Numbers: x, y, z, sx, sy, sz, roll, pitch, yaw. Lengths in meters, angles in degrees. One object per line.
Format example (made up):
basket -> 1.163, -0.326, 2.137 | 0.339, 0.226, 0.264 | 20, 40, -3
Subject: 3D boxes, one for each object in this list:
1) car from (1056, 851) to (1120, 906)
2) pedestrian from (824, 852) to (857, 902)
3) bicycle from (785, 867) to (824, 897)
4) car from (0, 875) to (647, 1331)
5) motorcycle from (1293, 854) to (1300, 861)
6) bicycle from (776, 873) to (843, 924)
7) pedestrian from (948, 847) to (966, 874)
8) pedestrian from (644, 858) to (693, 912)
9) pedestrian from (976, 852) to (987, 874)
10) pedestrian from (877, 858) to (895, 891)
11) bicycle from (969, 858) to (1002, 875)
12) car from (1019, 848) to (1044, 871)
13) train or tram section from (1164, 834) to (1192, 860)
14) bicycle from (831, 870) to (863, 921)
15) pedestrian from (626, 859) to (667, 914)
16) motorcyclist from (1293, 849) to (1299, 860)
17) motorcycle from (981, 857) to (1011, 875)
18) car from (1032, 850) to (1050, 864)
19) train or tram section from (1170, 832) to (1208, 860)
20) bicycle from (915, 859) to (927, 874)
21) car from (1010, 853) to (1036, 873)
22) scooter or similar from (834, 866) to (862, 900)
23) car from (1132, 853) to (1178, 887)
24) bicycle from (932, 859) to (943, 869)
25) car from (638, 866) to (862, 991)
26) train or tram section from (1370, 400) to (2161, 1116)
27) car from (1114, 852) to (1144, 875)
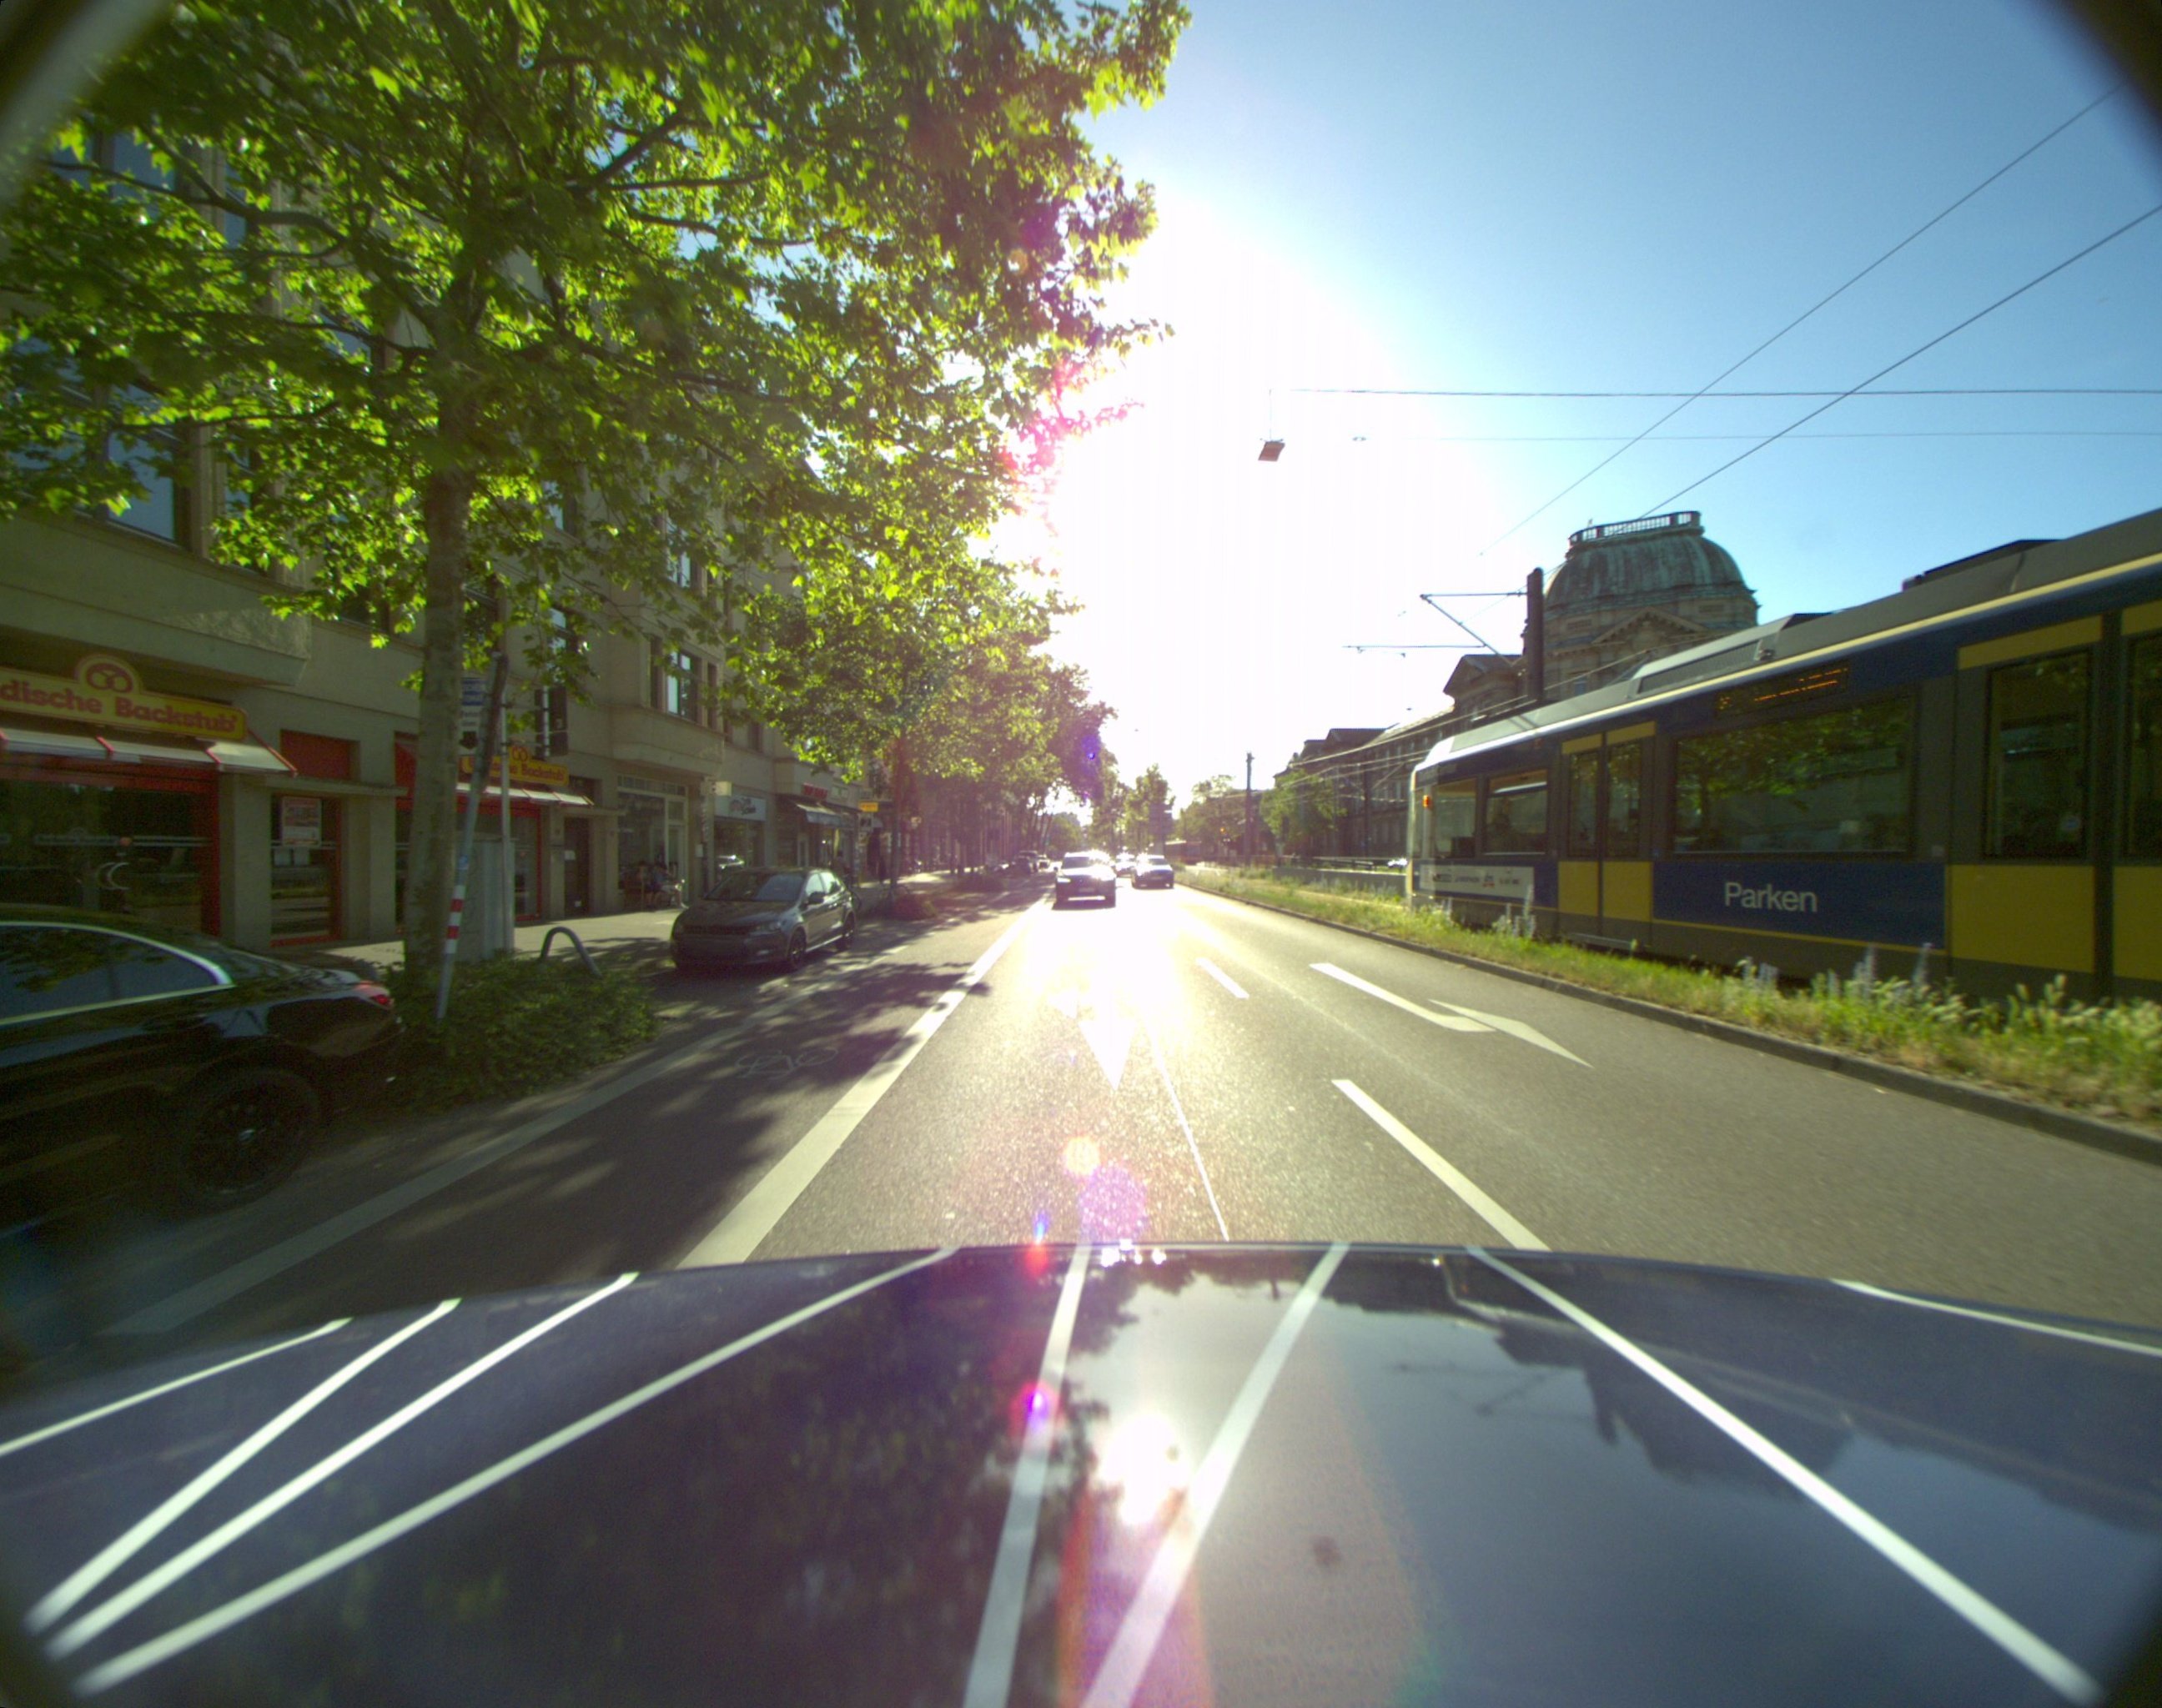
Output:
car -> 0.195, 0.739, 25.804 | 1.949, 1.690, 5.305 | 0, 0, 0
pedestrian -> -8.295, 0.780, 26.239 | 0.861, 1.695, 0.916 | 1, 1, -2
bicycle -> -10.453, 1.021, 28.801 | 0.491, 1.018, 2.623 | 2, 0, 0
car -> -4.857, 0.951, 4.380 | 2.043, 1.500, 4.593 | -1, 0, 0
motorcycle -> 25.854, 0.422, 91.176 | 0.369, 0.779, 1.522 | -2, 1, 3
bicycle -> -7.049, 1.140, 19.830 | 0.386, 1.200, 1.876 | -1, 0, 25
pedestrian -> -9.190, 0.472, 56.267 | 1.090, 2.002, 1.046 | 0, 1, 1
pedestrian -> -10.678, 0.784, 19.694 | 0.787, 1.361, 0.857 | 0, 1, 1
pedestrian -> -8.770, 0.787, 67.070 | 0.644, 1.817, 0.895 | -2, 1, 8
pedestrian -> -9.640, 0.998, 37.615 | 0.683, 1.612, 0.562 | -2, 1, -2
bicycle -> -6.760, 0.864, 53.588 | 2.228, 1.087, 0.455 | -2, 1, 1
car -> -4.528, 0.466, 69.995 | 1.861, 2.002, 4.723 | -2, 1, 0
train or tram section -> 13.841, -0.972, 108.523 | 2.964, 3.463, 6.058 | -2, 0, -2
bicycle -> -6.252, 1.094, 20.373 | 0.393, 1.208, 1.902 | 1, 2, -3
pedestrian -> -10.741, 0.794, 18.811 | 0.536, 1.325, 0.820 | 0, 1, 1
motorcyclist -> 25.808, 0.091, 91.039 | 0.515, 1.250, 0.691 | -2, 1, 4
motorcycle -> -5.904, 0.831, 52.819 | 1.954, 1.224, 0.515 | -2, 1, -3
car -> -4.516, 0.332, 86.273 | 1.672, 1.561, 4.280 | -2, 1, 2
train or tram section -> 14.051, -0.977, 99.887 | 2.969, 3.463, 11.284 | -2, 0, -2
bicycle -> -11.495, 0.885, 54.671 | 0.415, 0.992, 1.882 | -1, 1, 0
car -> -4.760, 0.754, 63.326 | 1.823, 1.506, 4.707 | -2, 1, -1
scooter or similar -> -8.372, 1.045, 27.328 | 0.746, 1.165, 0.849 | 2, 1, -3
car -> 3.390, 0.689, 35.418 | 1.778, 1.440, 3.869 | -2, 0, 1
bicycle -> -11.725, 0.831, 62.109 | 0.550, 0.769, 1.662 | 1, 1, 0
car -> -4.766, 0.977, 11.589 | 1.699, 1.493, 3.801 | 2, 0, 0
train or tram section -> 7.172, -0.568, 7.554 | 2.936, 3.790, 14.270 | -2, 1, 0
car -> 3.172, 0.618, 50.698 | 1.798, 1.420, 4.000 | -2, 1, 1
